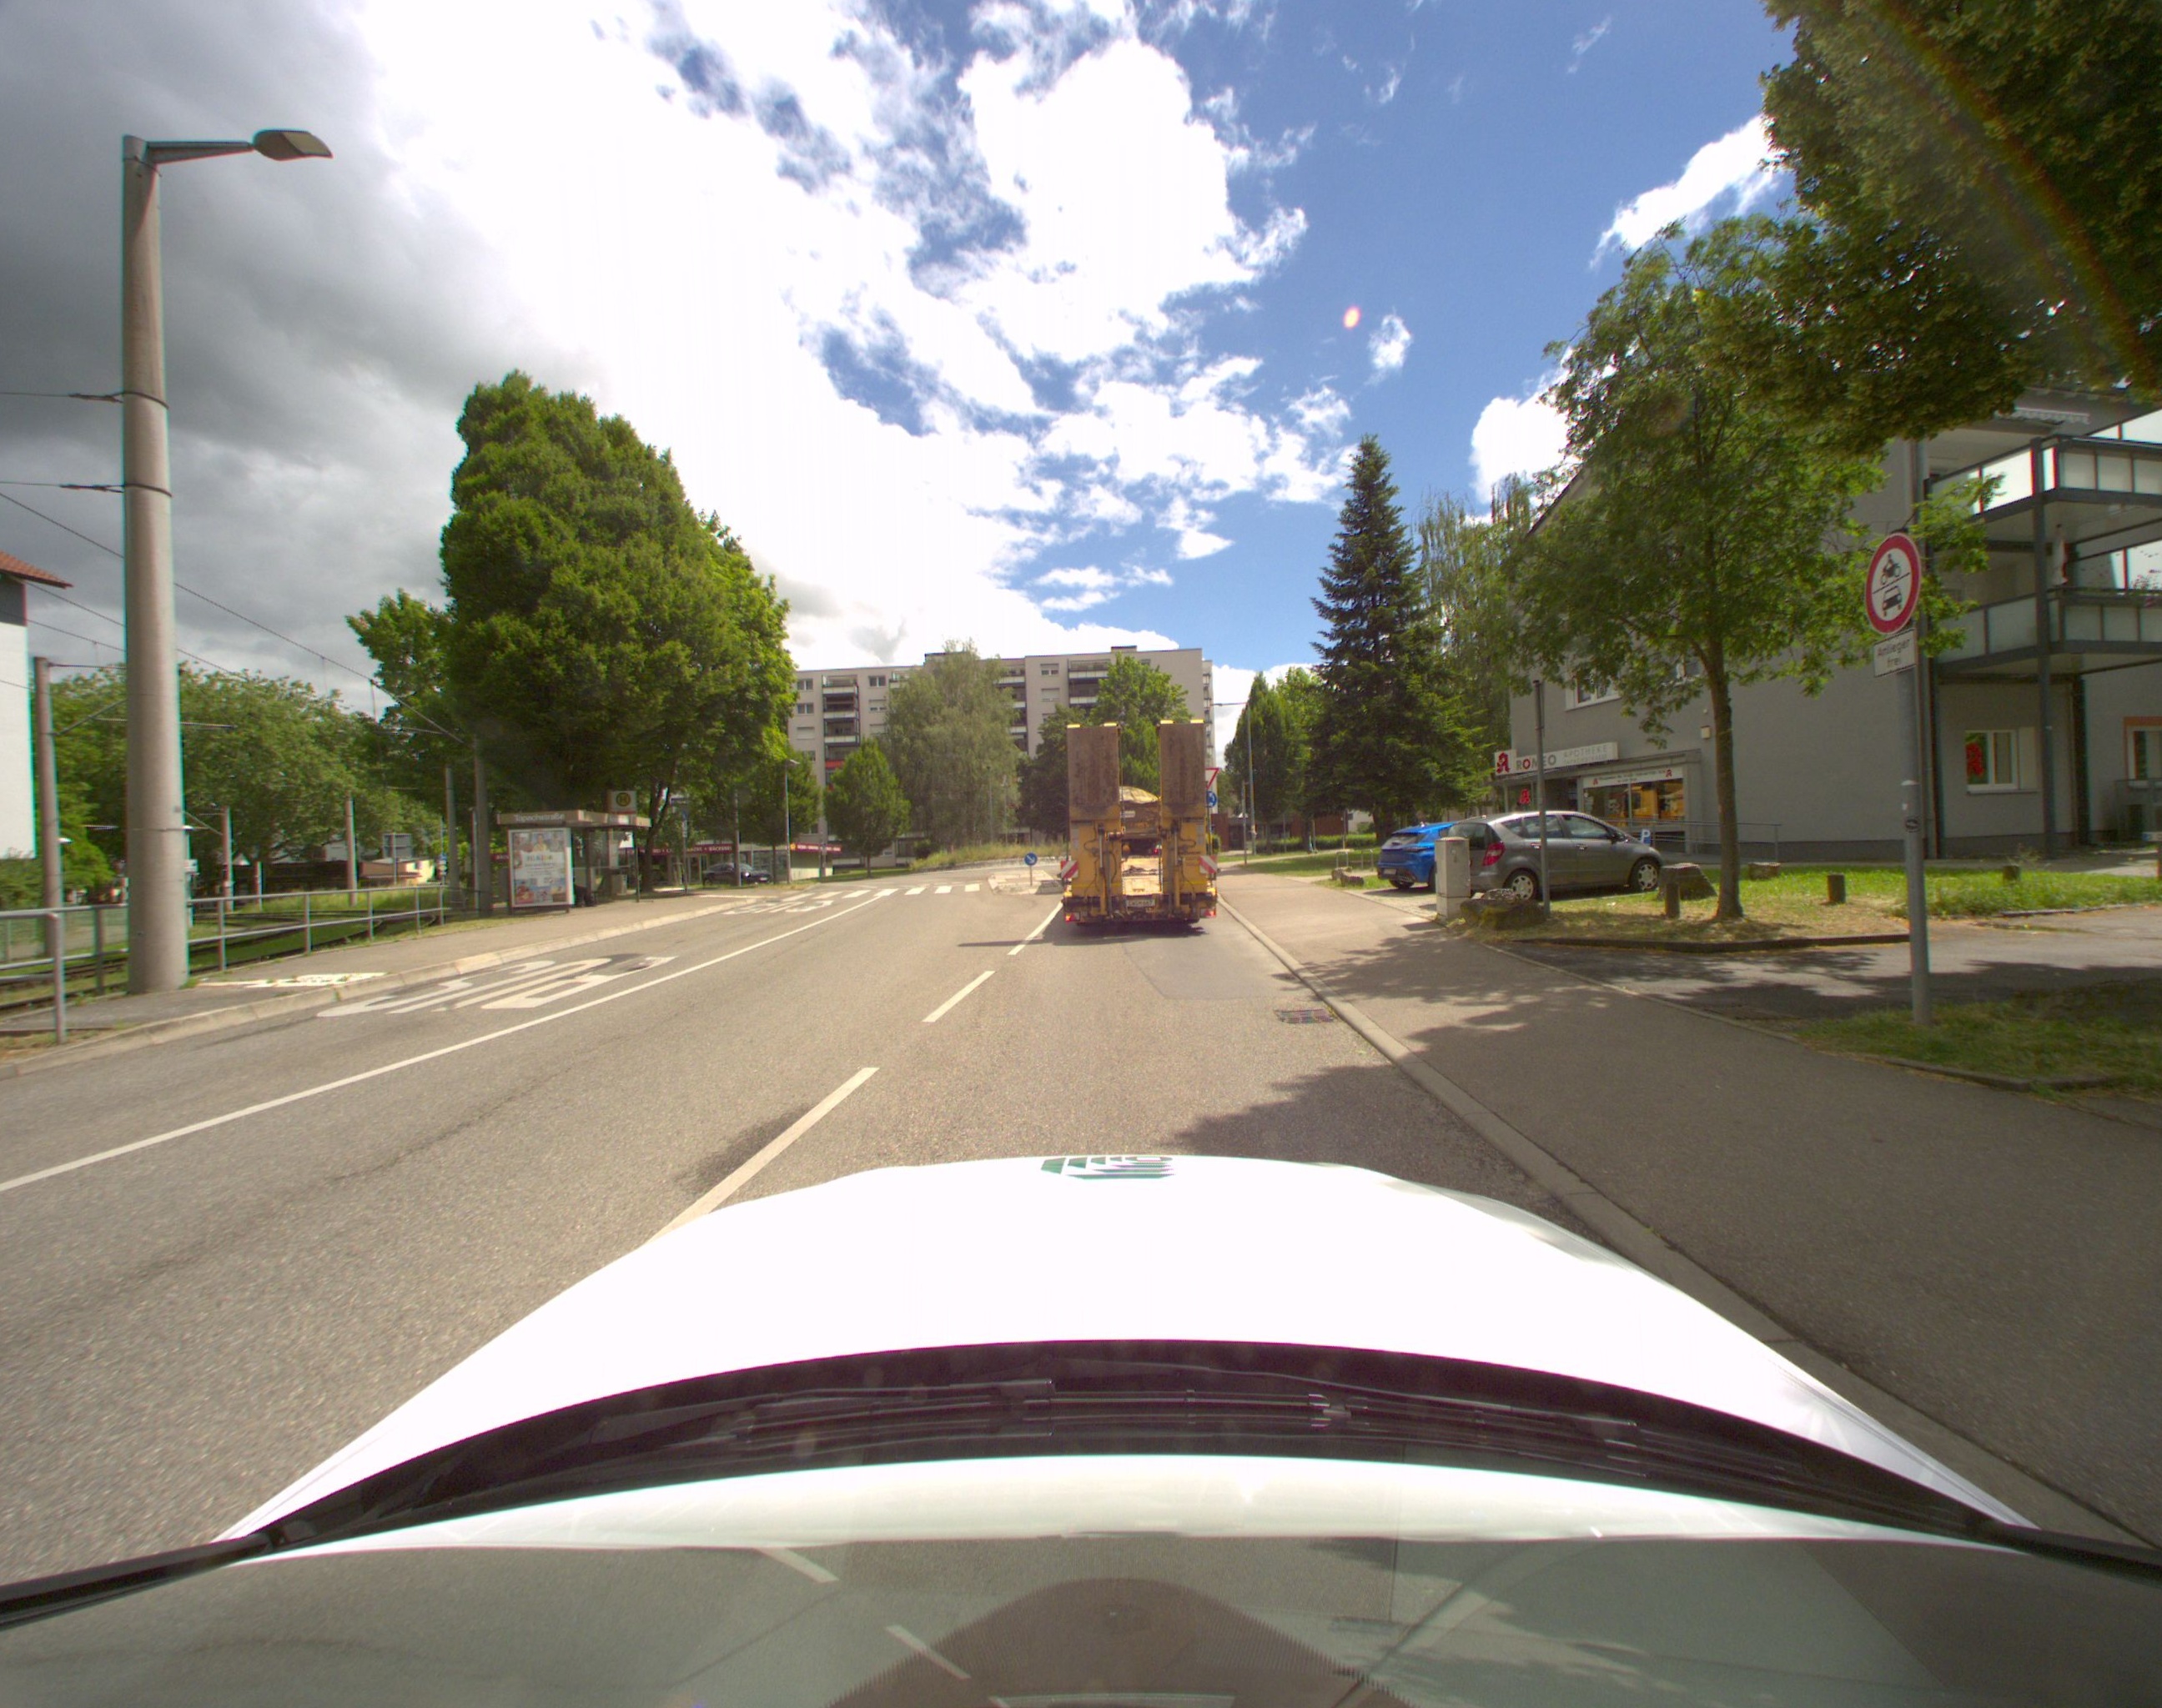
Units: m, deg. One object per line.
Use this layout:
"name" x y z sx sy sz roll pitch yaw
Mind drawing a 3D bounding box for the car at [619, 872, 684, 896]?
"car" -29.670 2.076 56.228 4.558 1.383 1.835 -3 0 32

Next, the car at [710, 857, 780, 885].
"car" -20.393 1.041 49.389 4.466 1.525 2.013 -3 0 40

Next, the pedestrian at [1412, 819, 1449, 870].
"pedestrian" 10.834 -0.299 25.281 0.741 1.529 0.690 -3 0 -7

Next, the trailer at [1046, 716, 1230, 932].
"trailer" 1.133 -0.604 18.470 2.852 3.372 10.848 -2 1 2

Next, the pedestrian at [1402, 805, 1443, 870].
"pedestrian" 10.835 -0.517 25.850 0.654 2.013 1.043 -3 0 -10

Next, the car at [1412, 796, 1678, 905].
"car" 8.382 -0.086 14.908 3.728 1.556 2.025 -5 1 -9

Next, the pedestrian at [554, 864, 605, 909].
"pedestrian" -13.398 0.852 21.775 0.797 1.135 0.910 -2 0 -5

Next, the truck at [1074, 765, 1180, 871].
"truck" 1.330 -1.200 28.165 2.979 3.034 8.483 -1 2 -1

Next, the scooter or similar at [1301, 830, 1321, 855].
"scooter or similar" 13.013 -0.667 46.129 0.480 1.343 1.397 -3 1 39

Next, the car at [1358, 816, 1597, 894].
"car" 8.811 -0.007 18.272 4.485 1.243 1.993 -5 1 -11
